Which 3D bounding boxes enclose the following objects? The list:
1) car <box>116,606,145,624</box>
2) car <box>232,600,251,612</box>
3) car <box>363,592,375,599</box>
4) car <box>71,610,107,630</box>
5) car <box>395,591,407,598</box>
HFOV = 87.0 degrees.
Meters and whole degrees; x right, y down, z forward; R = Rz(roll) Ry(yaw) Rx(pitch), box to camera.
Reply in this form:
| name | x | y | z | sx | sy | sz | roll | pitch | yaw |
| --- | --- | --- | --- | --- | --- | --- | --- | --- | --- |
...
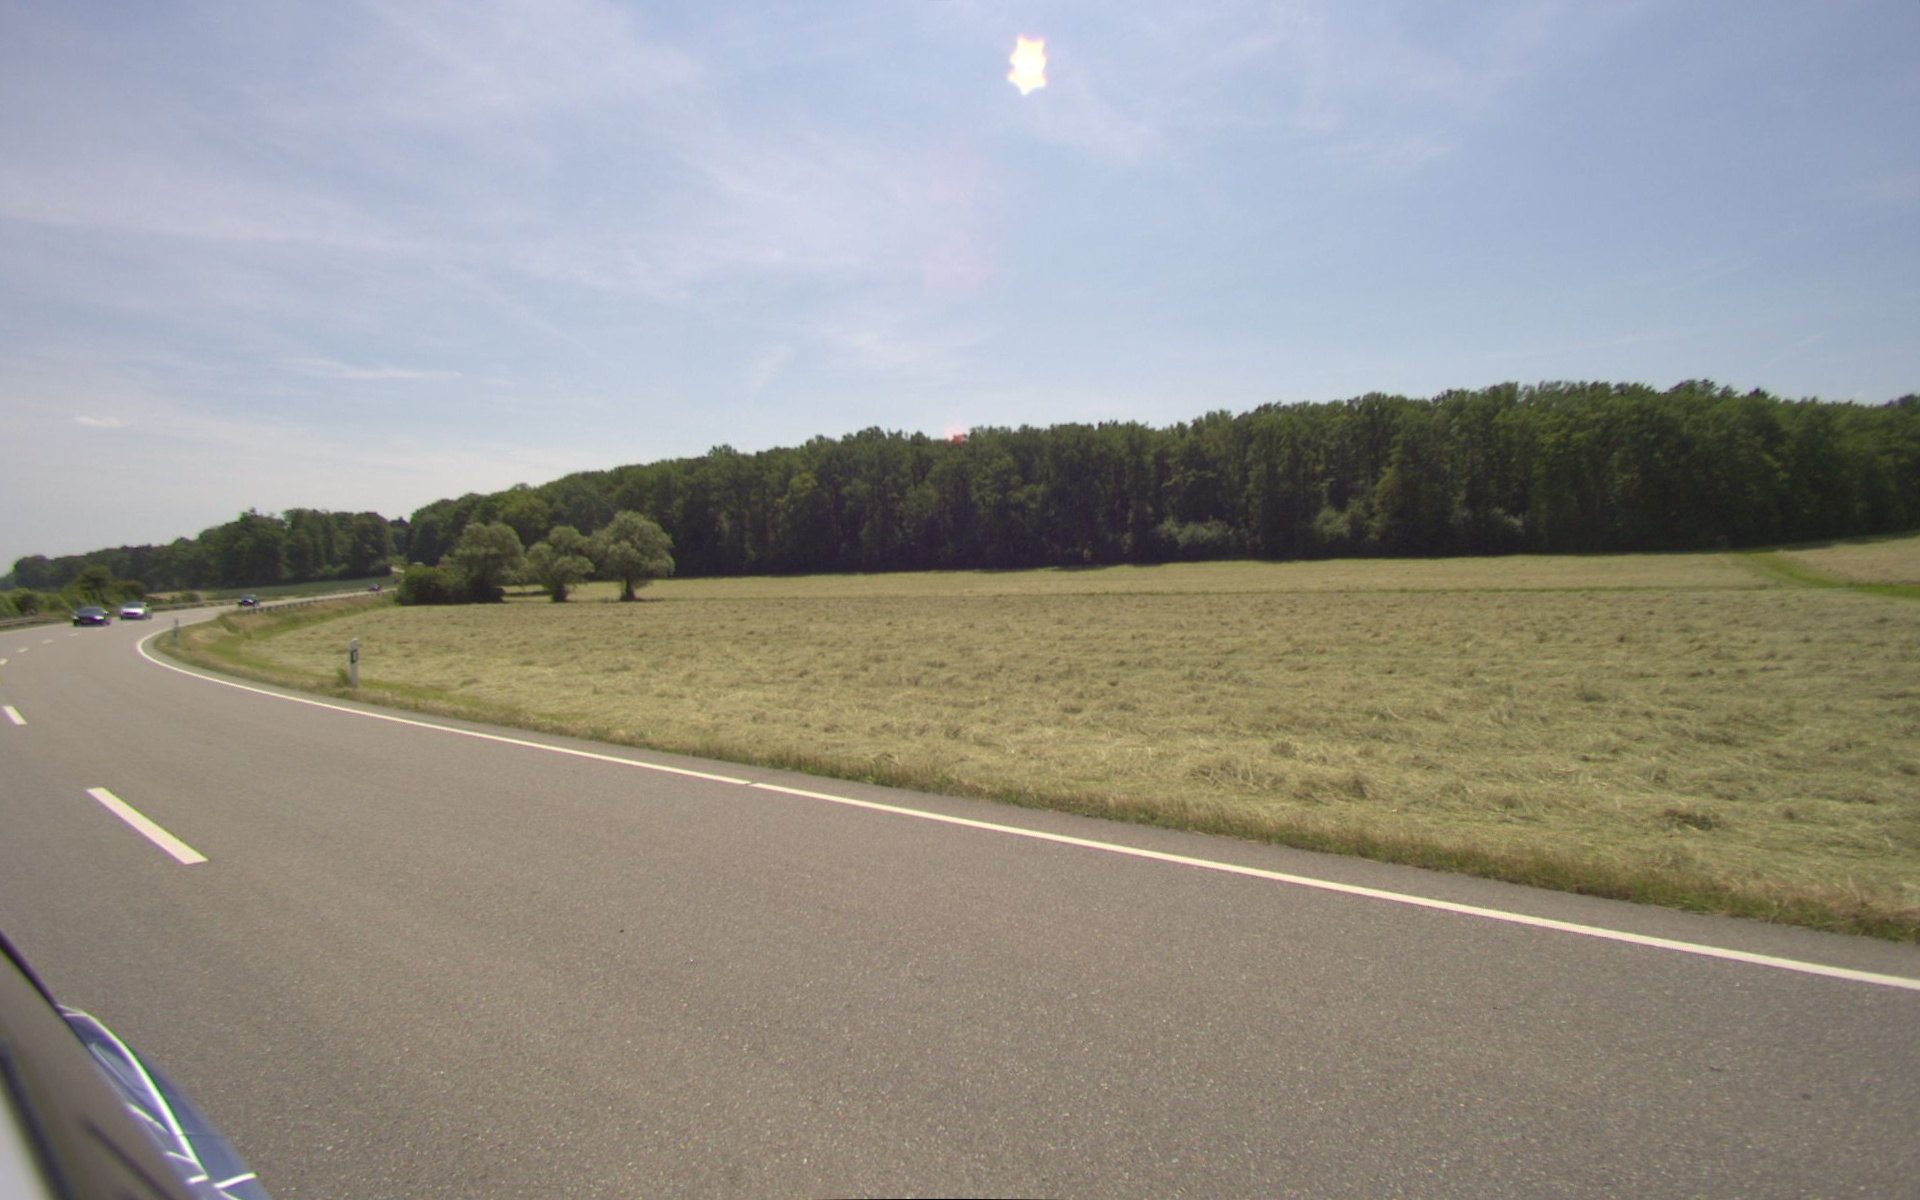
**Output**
| name | x | y | z | sx | sy | sz | roll | pitch | yaw |
| --- | --- | --- | --- | --- | --- | --- | --- | --- | --- |
| car | -74.826 | 1.339 | 91.291 | 1.595 | 1.447 | 3.453 | -2 | 2 | -33 |
| car | -95.474 | 0.827 | 134.592 | 1.595 | 1.447 | 3.454 | -1 | 2 | -28 |
| car | -122.177 | -0.973 | 209.244 | 1.595 | 1.447 | 3.454 | -1 | 2 | -19 |
| car | -65.584 | 1.475 | 76.237 | 1.595 | 1.447 | 3.453 | -2 | 1 | -33 |
| car | -120.155 | -1.272 | 217.606 | 1.676 | 1.480 | 4.214 | 1 | 0 | -20 |
